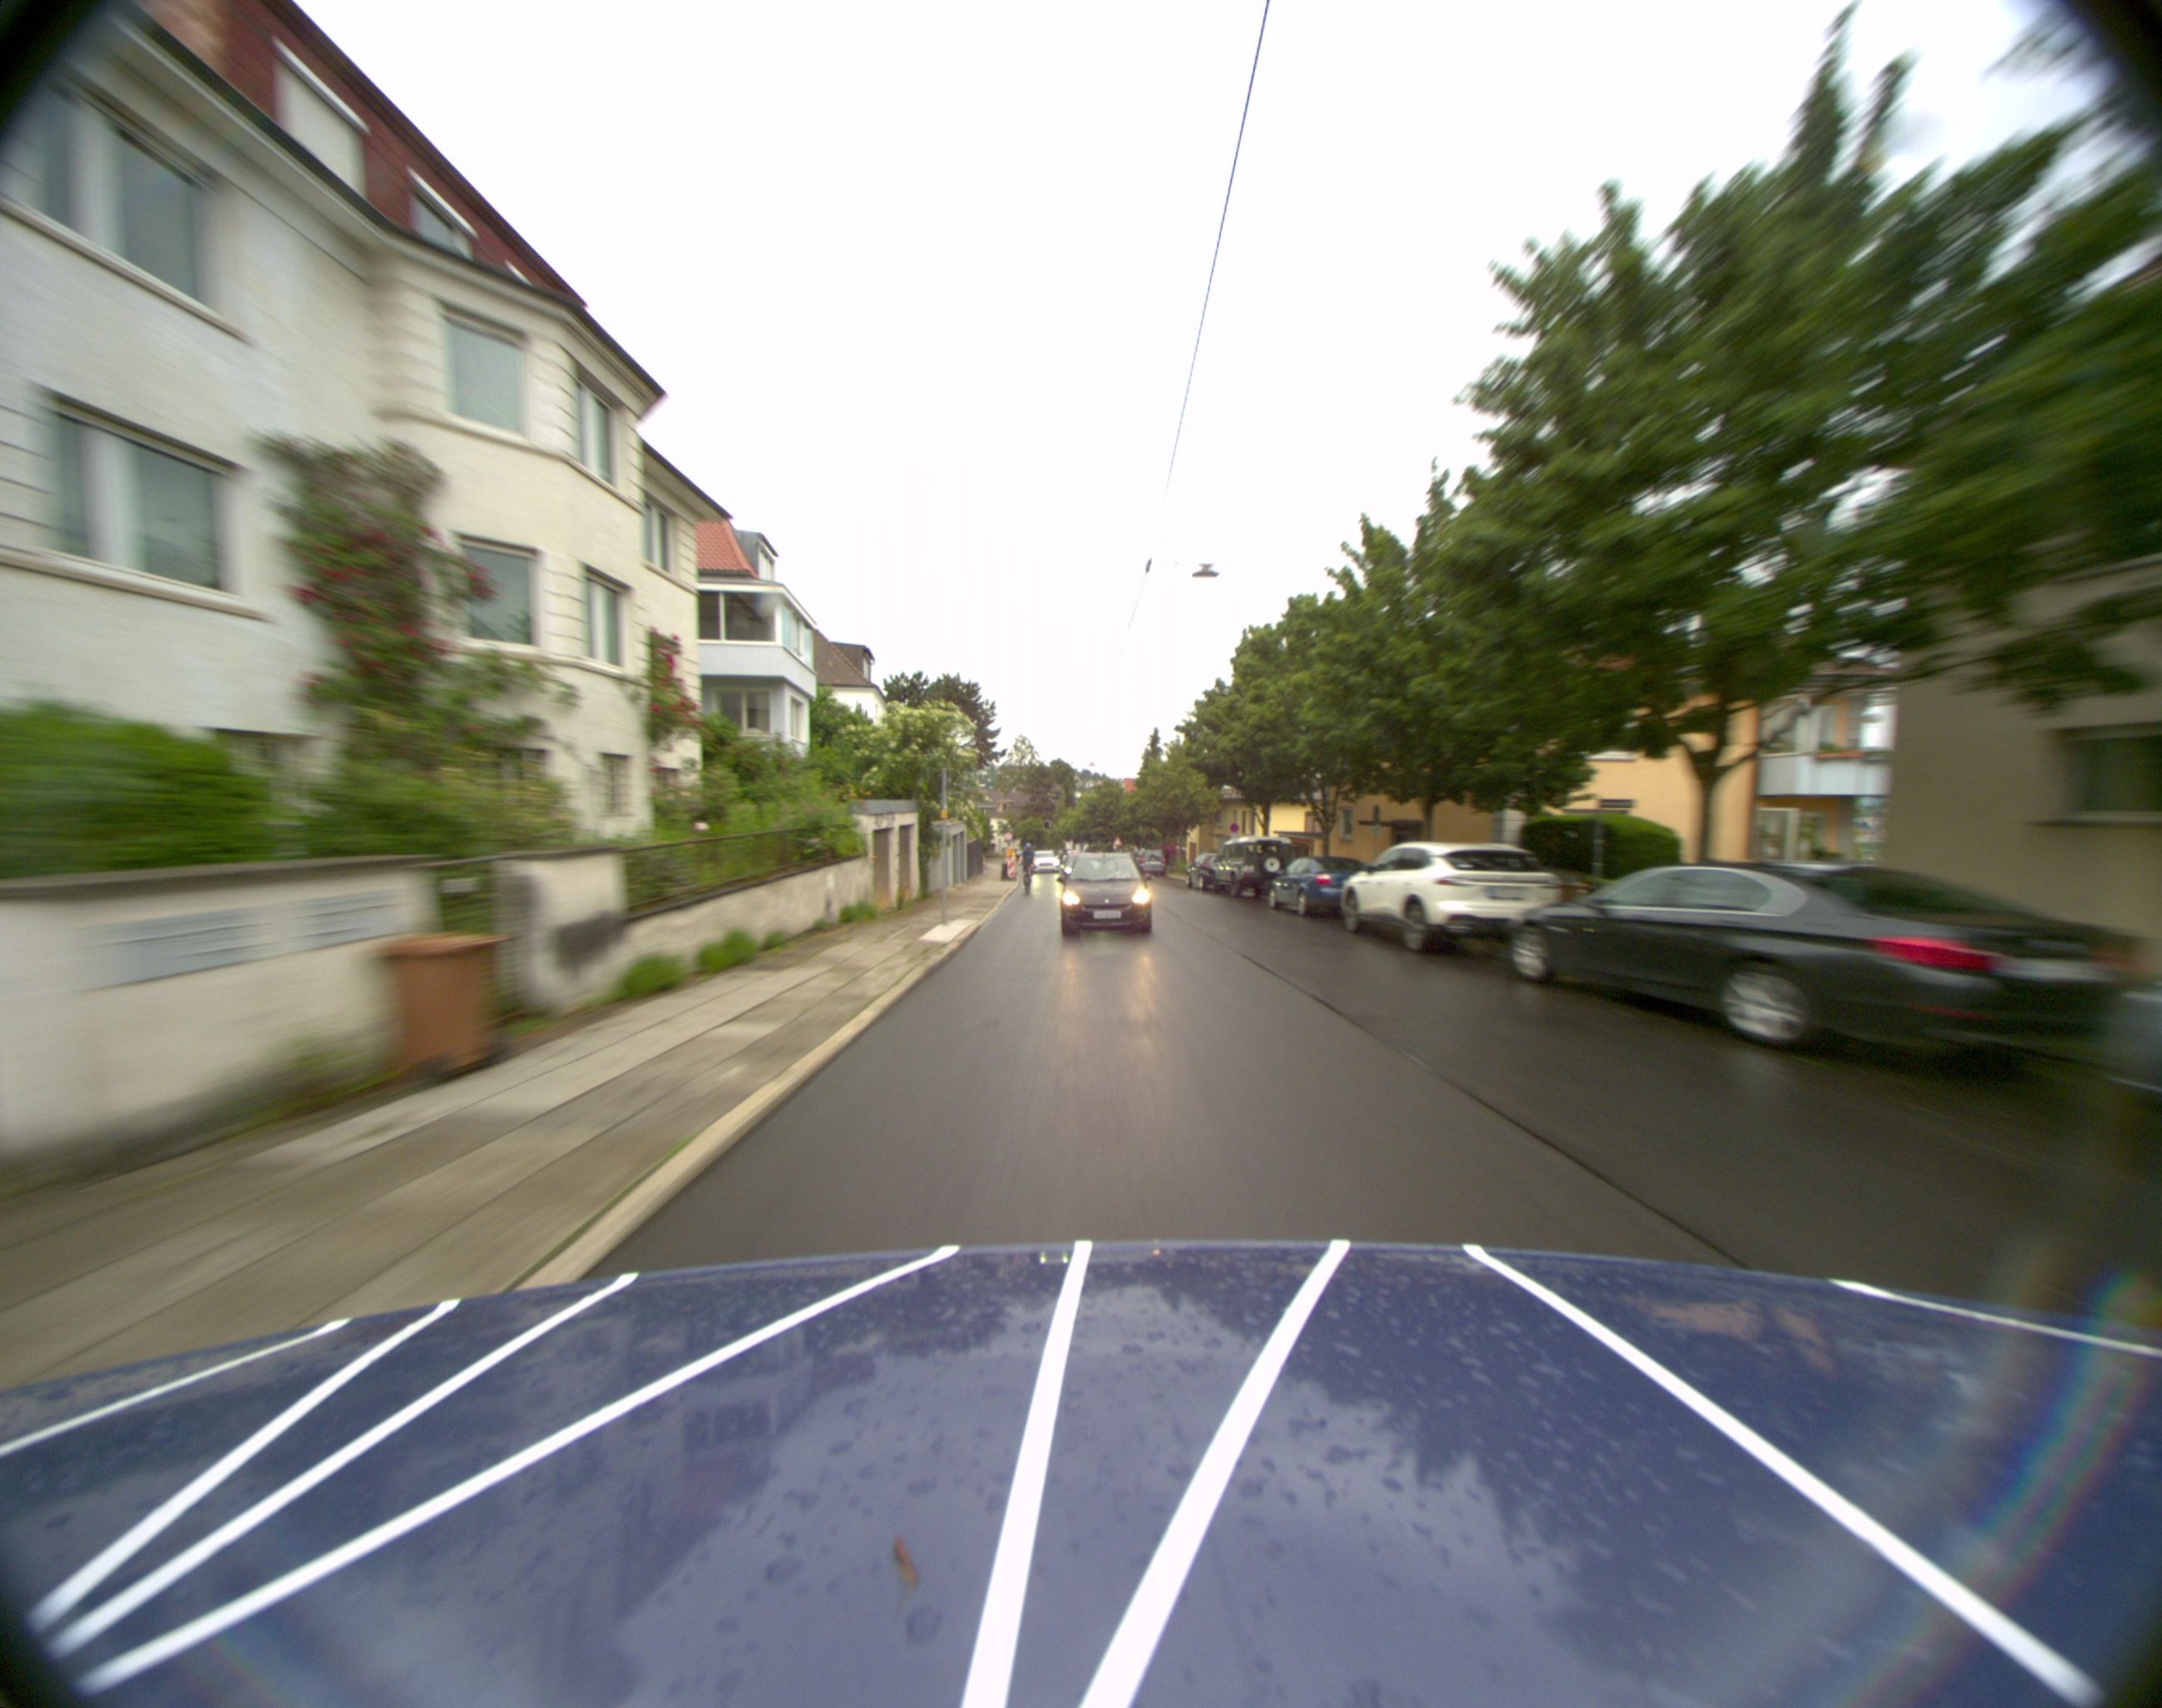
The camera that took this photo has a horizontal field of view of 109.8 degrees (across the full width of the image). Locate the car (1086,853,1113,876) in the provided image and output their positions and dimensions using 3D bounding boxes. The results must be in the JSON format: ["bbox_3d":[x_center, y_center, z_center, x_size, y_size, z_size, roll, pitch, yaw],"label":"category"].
[{"bbox_3d":[1.707,0.930,68.652,1.997,2.002,4.002,1,0,7],"label":"car"}]

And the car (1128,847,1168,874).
[{"bbox_3d":[4.163,0.396,47.888,1.910,1.591,4.087,1,1,-3],"label":"car"}]

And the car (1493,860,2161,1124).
[{"bbox_3d":[6.101,0.881,7.069,1.826,1.500,4.737,1,1,-2],"label":"car"}]

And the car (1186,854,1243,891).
[{"bbox_3d":[5.432,0.721,31.326,1.543,1.365,3.538,3,1,-2],"label":"car"}]

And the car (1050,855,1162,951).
[{"bbox_3d":[0.477,0.789,14.346,1.746,1.434,4.359,-2,1,2],"label":"car"}]

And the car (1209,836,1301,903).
[{"bbox_3d":[5.828,0.463,26.025,1.823,2.001,4.561,3,1,-2],"label":"car"}]

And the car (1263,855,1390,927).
[{"bbox_3d":[5.830,0.813,18.594,1.622,1.434,4.267,3,1,-1],"label":"car"}]

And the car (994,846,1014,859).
[{"bbox_3d":[-11.699,-0.166,115.041,2.002,1.705,3.994,-2,-2,-22],"label":"car"}]

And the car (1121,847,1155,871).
[{"bbox_3d":[3.943,0.338,52.821,1.864,1.563,3.907,1,1,-3],"label":"car"}]

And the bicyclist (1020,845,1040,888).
[{"bbox_3d":[-1.867,0.444,27.955,0.685,1.528,0.784,-2,2,-3],"label":"bicyclist"}]

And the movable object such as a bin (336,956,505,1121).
[{"bbox_3d":[-4.129,1.135,4.786,0.570,0.895,0.526,-1,1,-3],"label":"movable object such as a bin"}]

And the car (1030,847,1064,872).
[{"bbox_3d":[-2.568,0.402,56.720,2.019,1.728,4.595,-2,1,-8],"label":"car"}]

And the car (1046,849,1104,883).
[{"bbox_3d":[-0.205,0.543,35.874,1.744,1.434,4.241,-1,1,13],"label":"car"}]

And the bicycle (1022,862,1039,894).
[{"bbox_3d":[-1.854,0.873,27.895,0.590,1.093,1.527,-1,1,-3],"label":"bicycle"}]

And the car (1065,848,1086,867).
[{"bbox_3d":[-0.626,0.384,84.624,1.999,2.002,3.998,1,0,-4],"label":"car"}]

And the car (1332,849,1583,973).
[{"bbox_3d":[5.794,0.749,12.449,1.812,1.604,4.508,2,1,0],"label":"car"}]

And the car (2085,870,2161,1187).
[{"bbox_3d":[6.186,0.922,1.838,1.721,1.537,4.293,2,1,-1],"label":"car"}]
